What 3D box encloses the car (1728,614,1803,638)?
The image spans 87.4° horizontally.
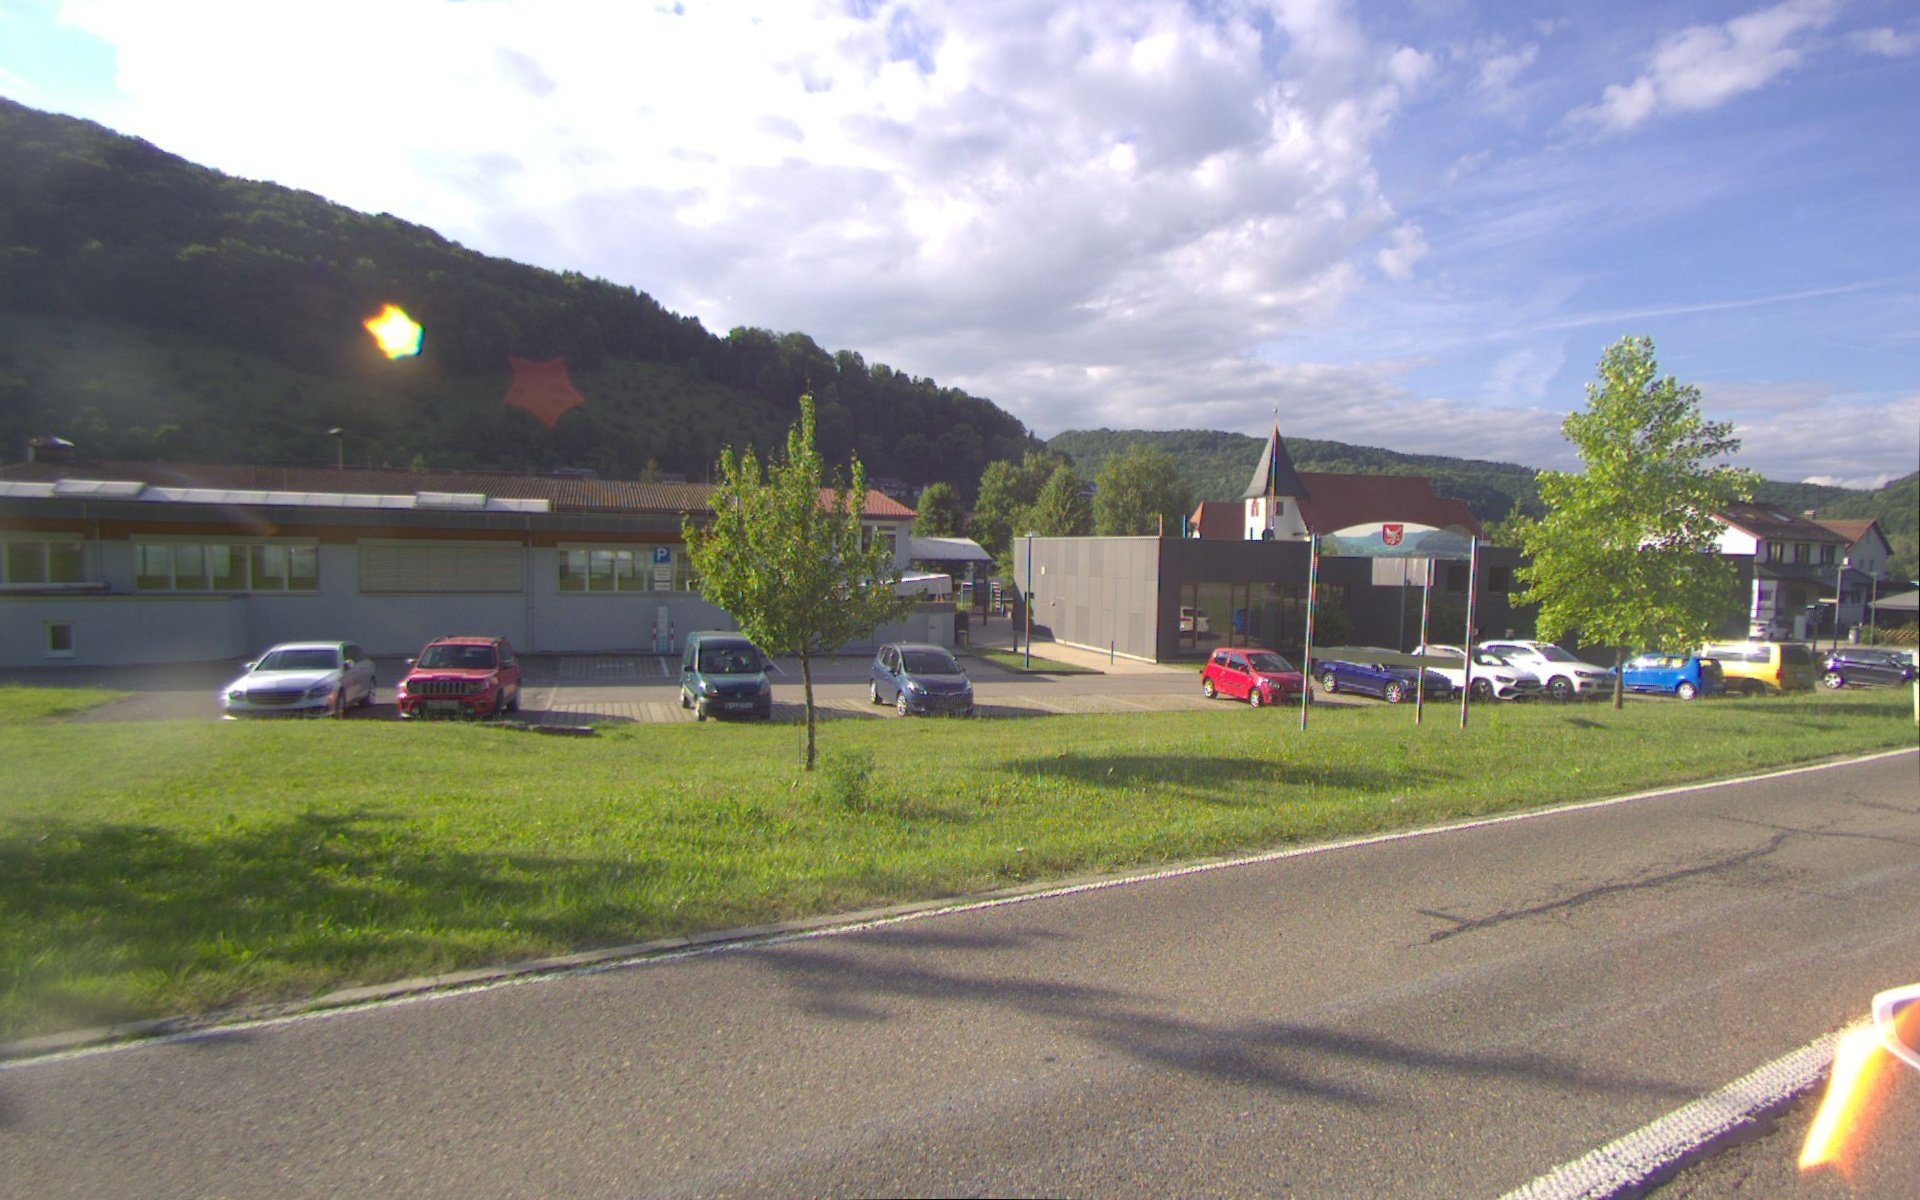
[{"bbox_3d":[54.542,1.765,68.059,3.928,1.461,1.767,2,0,-9],"label":"car"}]

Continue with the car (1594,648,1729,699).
[{"bbox_3d":[24.106,2.494,34.645,1.610,1.492,3.485,2,0,-23],"label":"car"}]

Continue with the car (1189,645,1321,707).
[{"bbox_3d":[8.141,2.078,28.015,1.592,1.416,3.714,2,0,-21],"label":"car"}]

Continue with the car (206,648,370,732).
[{"bbox_3d":[-13.397,1.742,20.285,1.825,1.386,3.881,2,-1,-20],"label":"car"}]

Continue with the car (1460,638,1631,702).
[{"bbox_3d":[18.850,2.205,32.601,1.971,1.725,4.531,2,0,-21],"label":"car"}]

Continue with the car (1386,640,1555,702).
[{"bbox_3d":[15.763,2.158,31.300,1.971,1.575,4.531,2,0,-21],"label":"car"}]

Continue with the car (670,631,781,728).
[{"bbox_3d":[-5.557,1.731,23.337,1.661,1.817,4.980,2,0,-23],"label":"car"}]

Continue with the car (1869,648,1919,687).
[{"bbox_3d":[40.086,2.818,40.459,1.853,1.513,4.805,2,0,-21],"label":"car"}]

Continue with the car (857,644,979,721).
[{"bbox_3d":[-1.113,1.910,24.358,1.660,1.471,3.998,-1,1,-23],"label":"car"}]

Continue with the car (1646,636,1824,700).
[{"bbox_3d":[26.831,2.309,34.985,1.968,1.893,4.607,2,0,-18],"label":"car"}]

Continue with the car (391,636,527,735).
[{"bbox_3d":[-10.387,1.707,21.135,1.818,1.691,4.319,2,0,-17],"label":"car"}]

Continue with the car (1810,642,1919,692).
[{"bbox_3d":[35.894,2.576,38.975,1.971,1.659,4.018,2,0,-21],"label":"car"}]

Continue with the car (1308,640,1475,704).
[{"bbox_3d":[12.776,2.097,30.074,1.971,1.575,4.531,2,0,-21],"label":"car"}]
